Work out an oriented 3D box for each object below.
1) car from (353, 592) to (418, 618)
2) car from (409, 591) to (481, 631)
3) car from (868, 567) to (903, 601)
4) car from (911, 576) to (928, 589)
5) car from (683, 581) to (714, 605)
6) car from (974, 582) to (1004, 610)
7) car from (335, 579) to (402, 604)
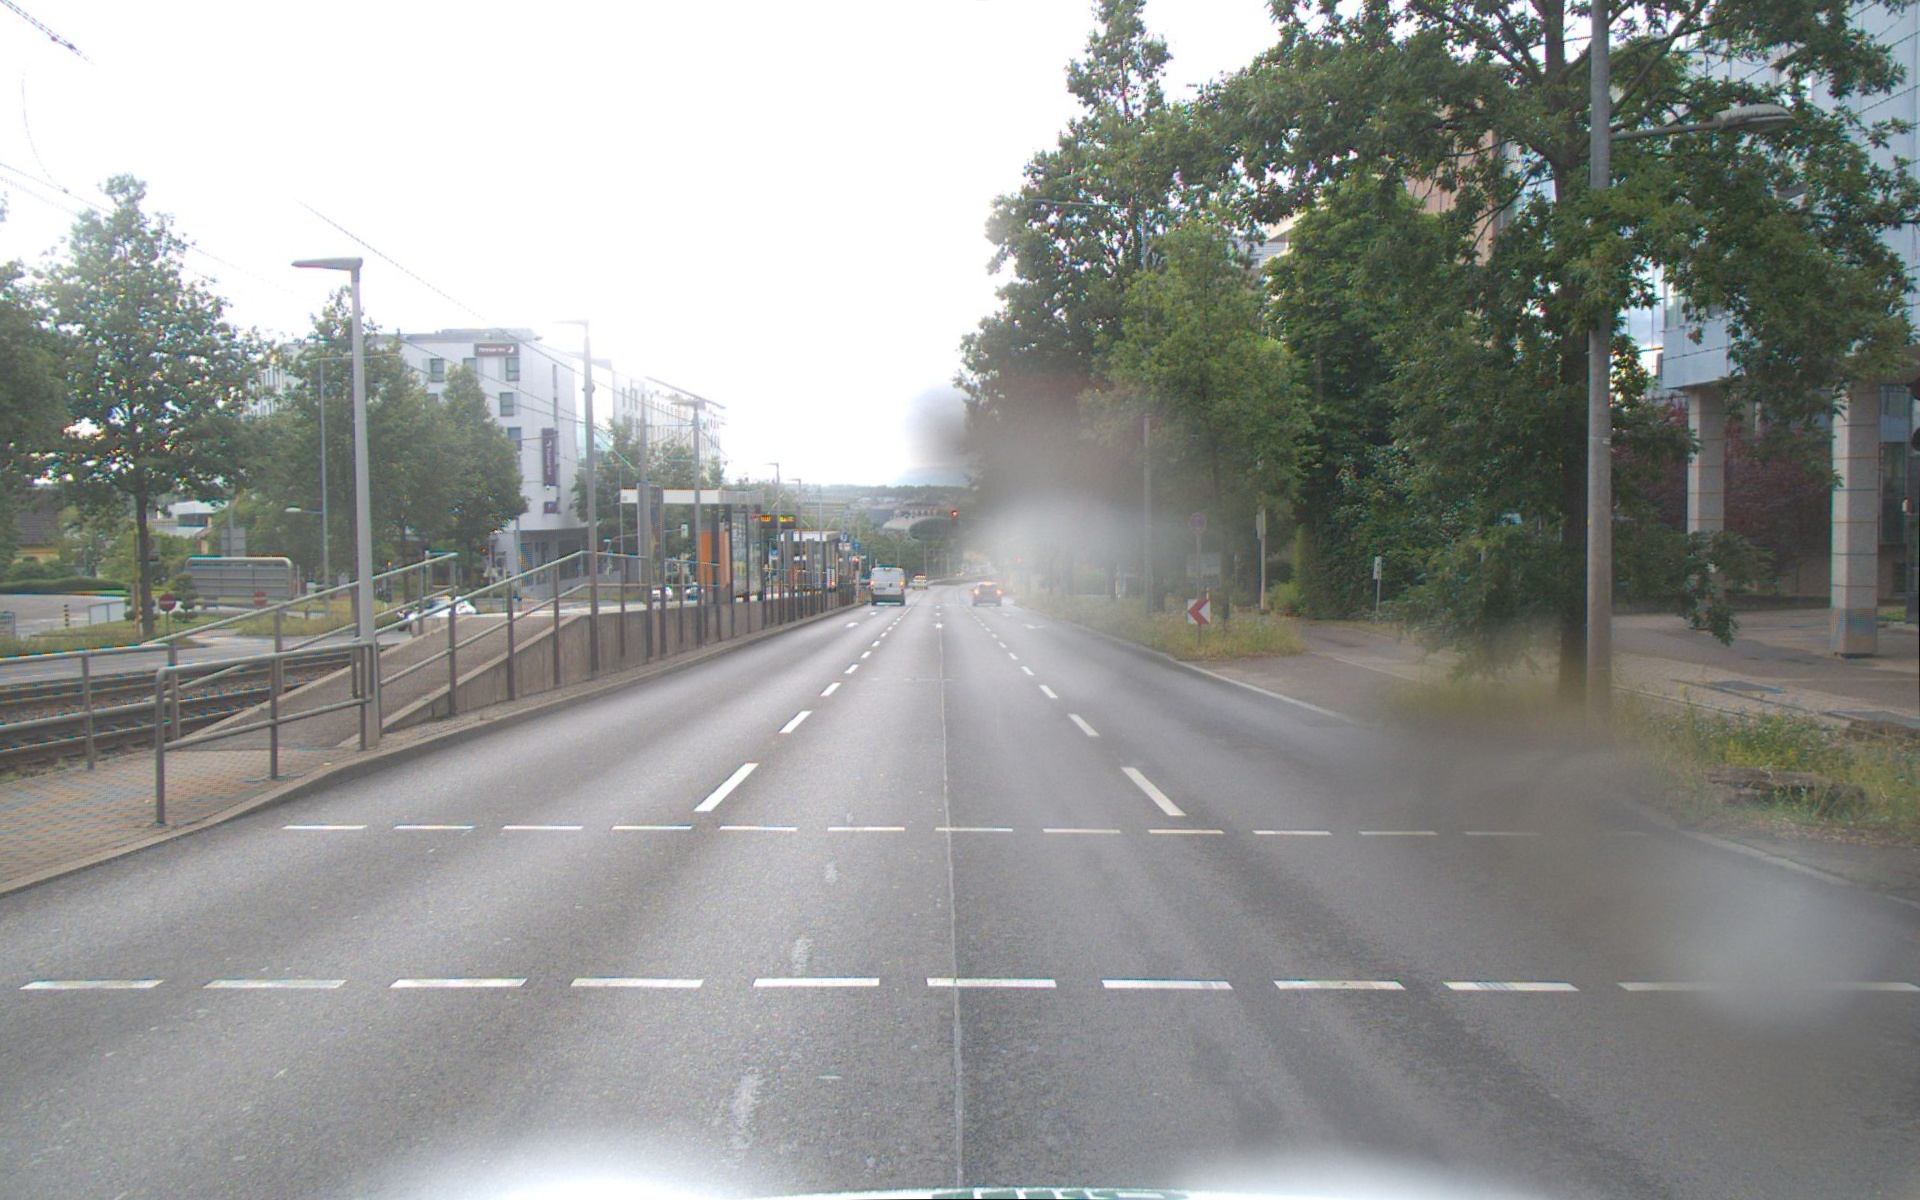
[{"bbox_3d":[-32.914,0.271,94.820,3.297,1.411,1.434,0,1,16],"label":"car"},{"bbox_3d":[-20.065,0.408,64.587,1.617,1.461,3.879,-2,1,-1],"label":"car"},{"bbox_3d":[-4.578,-0.978,102.392,2.050,2.089,4.605,0,1,-1],"label":"car"},{"bbox_3d":[-4.522,-1.999,185.966,1.746,1.414,4.001,0,1,1],"label":"car"},{"bbox_3d":[-17.100,-0.449,108.108,1.622,1.461,3.866,-2,1,-14],"label":"car"},{"bbox_3d":[1.798,-0.251,102.809,1.738,1.720,3.845,0,1,-1],"label":"car"},{"bbox_3d":[-33.209,-0.494,92.887,3.297,1.411,1.434,0,1,16],"label":"car"}]
